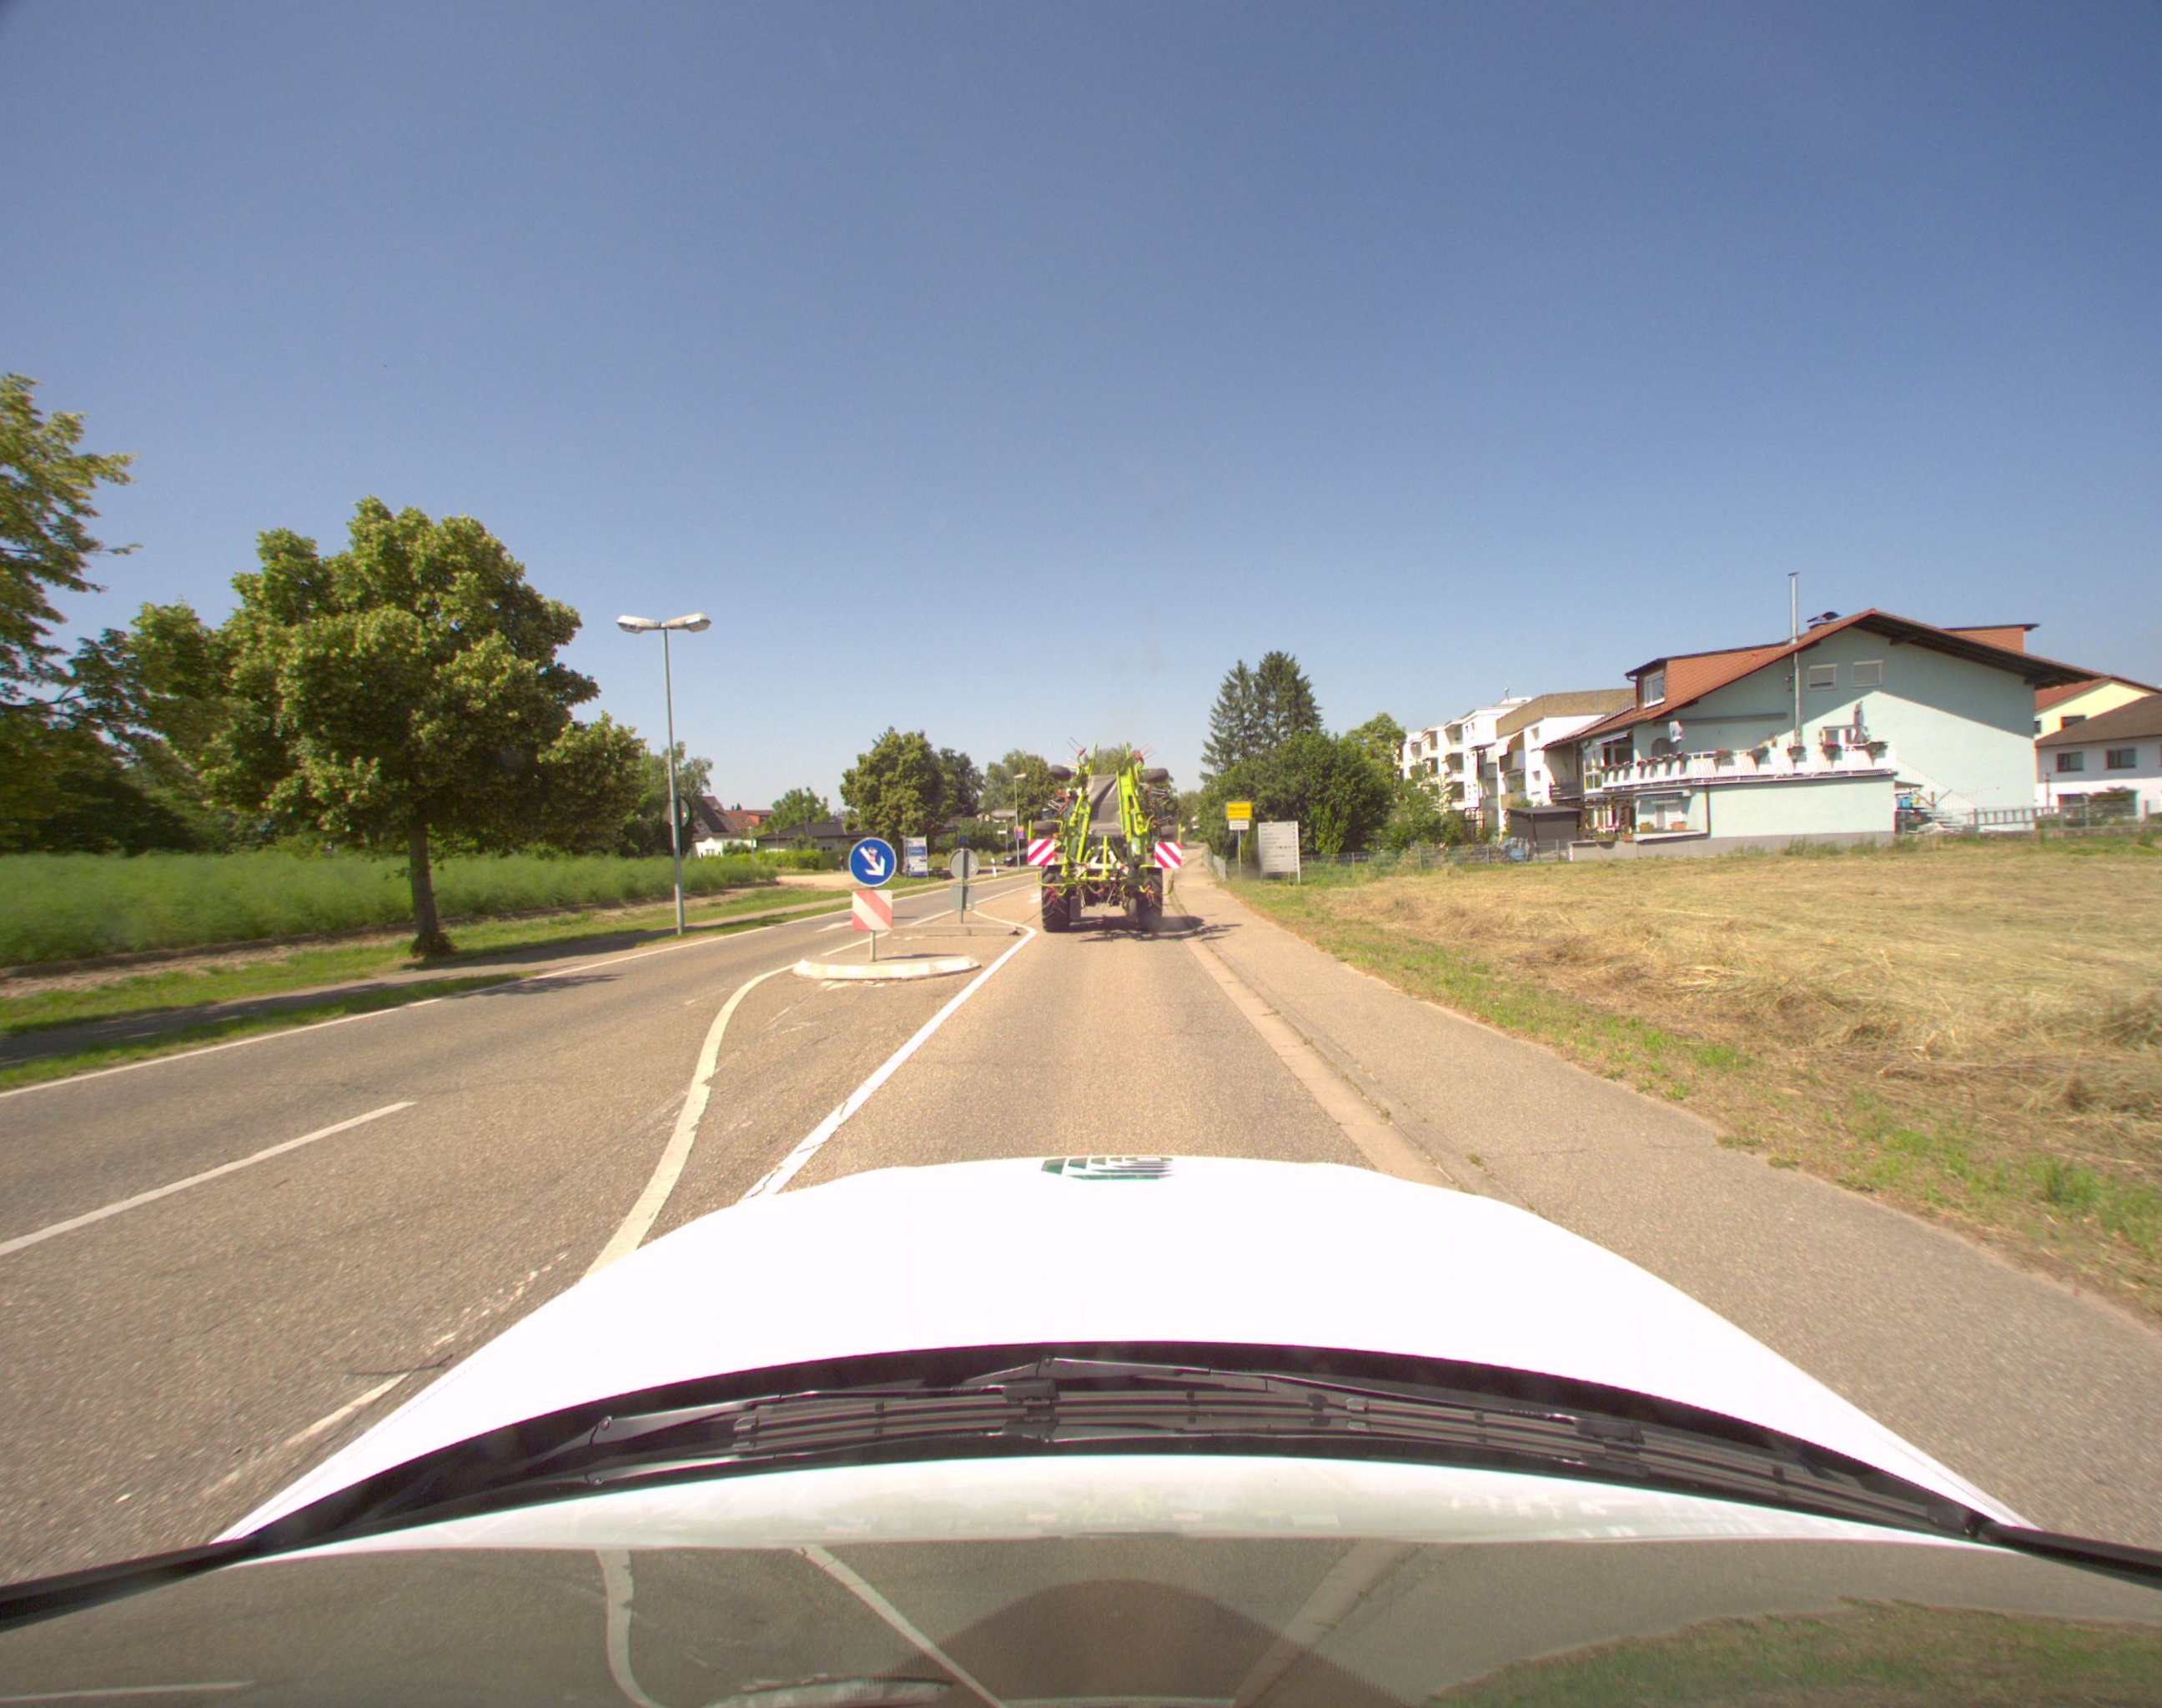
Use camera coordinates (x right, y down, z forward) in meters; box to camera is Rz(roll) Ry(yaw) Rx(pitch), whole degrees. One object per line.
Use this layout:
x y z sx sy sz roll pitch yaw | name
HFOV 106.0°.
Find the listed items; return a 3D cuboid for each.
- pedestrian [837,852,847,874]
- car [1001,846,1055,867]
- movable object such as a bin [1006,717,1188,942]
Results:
-19.512 0.718 66.508 0.672 1.716 0.550 -2 1 -4 | pedestrian
-4.341 0.185 66.071 4.090 1.519 1.992 -3 0 -12 | car
0.484 -0.391 17.962 2.841 3.541 9.707 -1 0 3 | movable object such as a bin
